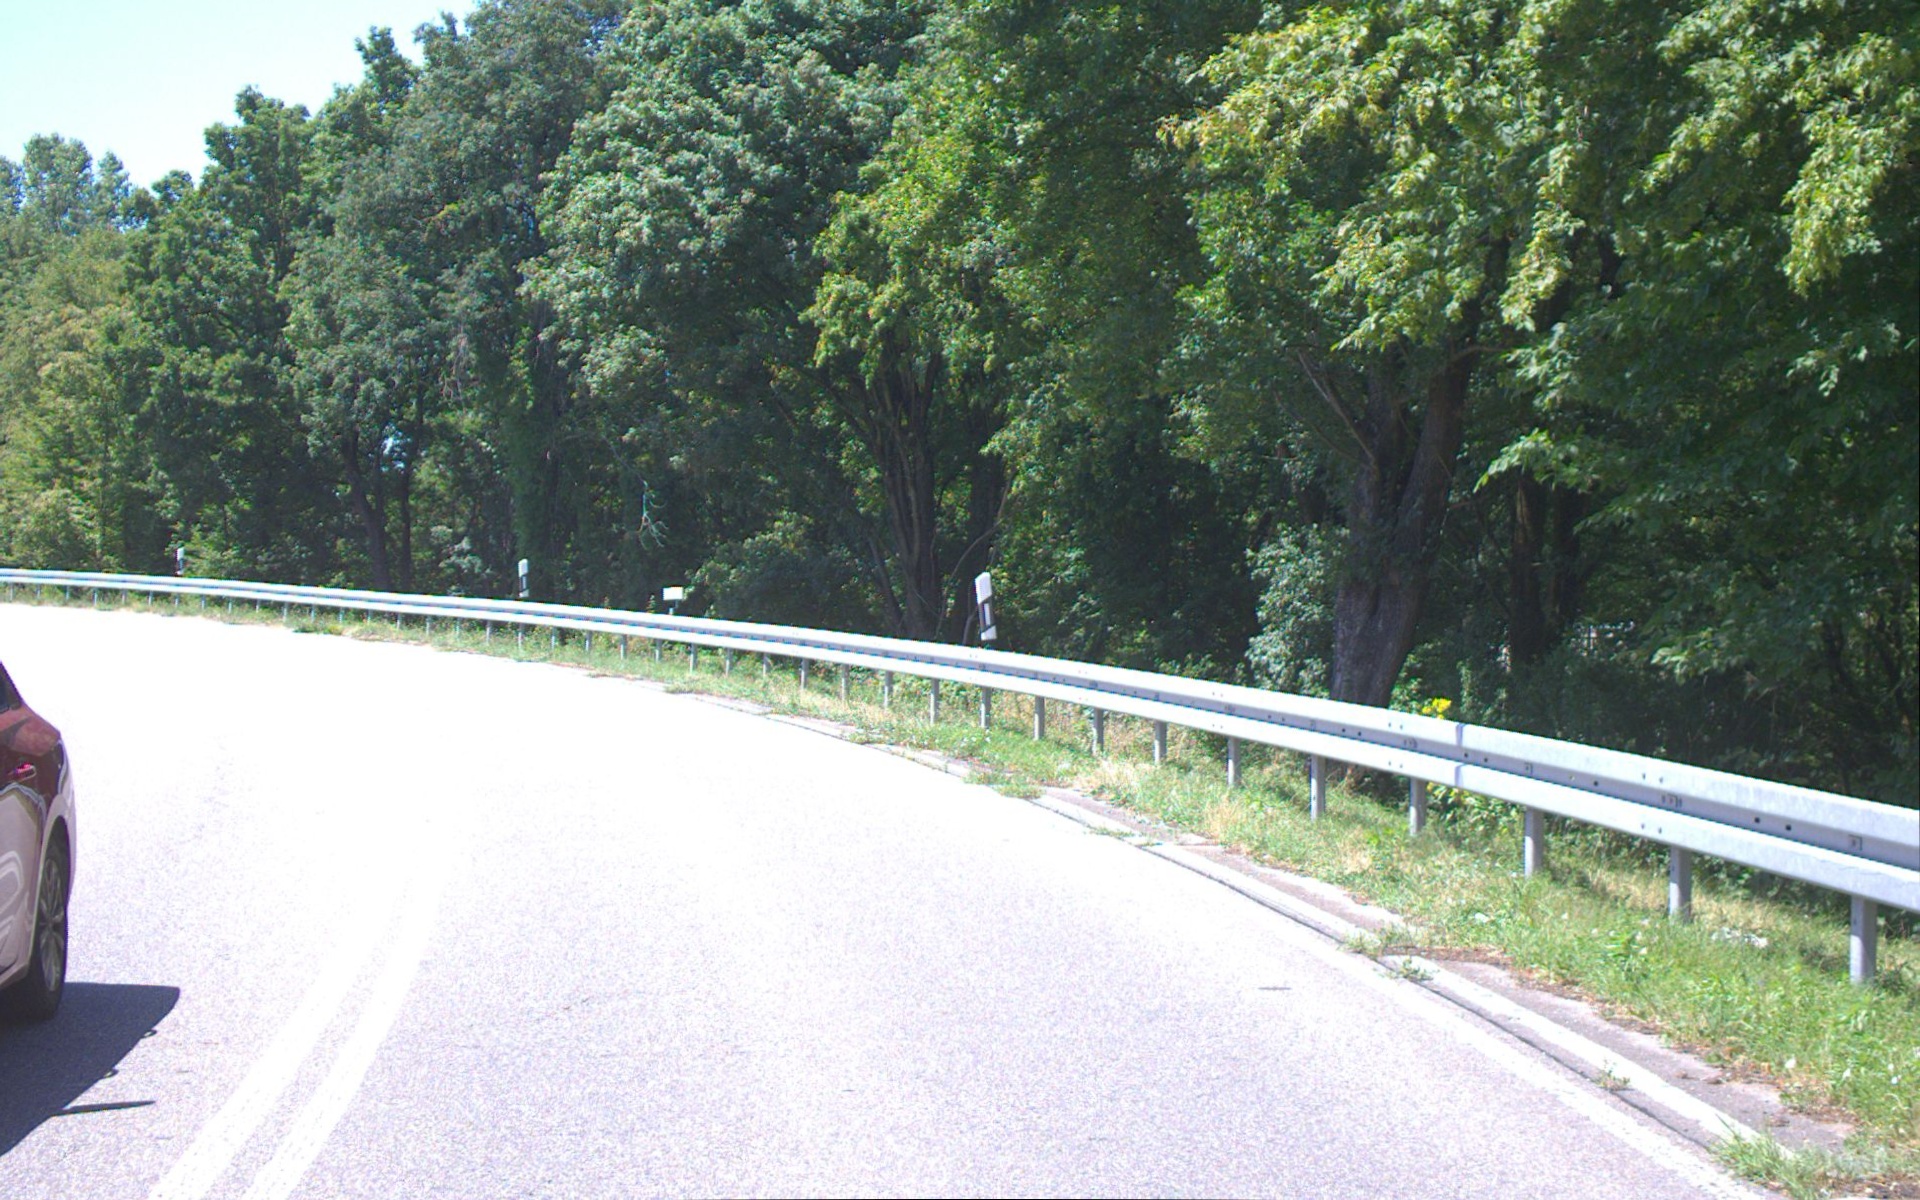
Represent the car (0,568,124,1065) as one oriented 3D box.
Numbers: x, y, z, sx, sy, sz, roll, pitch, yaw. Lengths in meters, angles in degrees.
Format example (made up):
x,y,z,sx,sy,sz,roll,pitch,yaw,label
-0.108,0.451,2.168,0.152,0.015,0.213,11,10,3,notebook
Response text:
x,y,z,sx,sy,sz,roll,pitch,yaw,label
-3.721,0.664,9.858,1.822,1.453,4.400,-3,-1,-4,car
